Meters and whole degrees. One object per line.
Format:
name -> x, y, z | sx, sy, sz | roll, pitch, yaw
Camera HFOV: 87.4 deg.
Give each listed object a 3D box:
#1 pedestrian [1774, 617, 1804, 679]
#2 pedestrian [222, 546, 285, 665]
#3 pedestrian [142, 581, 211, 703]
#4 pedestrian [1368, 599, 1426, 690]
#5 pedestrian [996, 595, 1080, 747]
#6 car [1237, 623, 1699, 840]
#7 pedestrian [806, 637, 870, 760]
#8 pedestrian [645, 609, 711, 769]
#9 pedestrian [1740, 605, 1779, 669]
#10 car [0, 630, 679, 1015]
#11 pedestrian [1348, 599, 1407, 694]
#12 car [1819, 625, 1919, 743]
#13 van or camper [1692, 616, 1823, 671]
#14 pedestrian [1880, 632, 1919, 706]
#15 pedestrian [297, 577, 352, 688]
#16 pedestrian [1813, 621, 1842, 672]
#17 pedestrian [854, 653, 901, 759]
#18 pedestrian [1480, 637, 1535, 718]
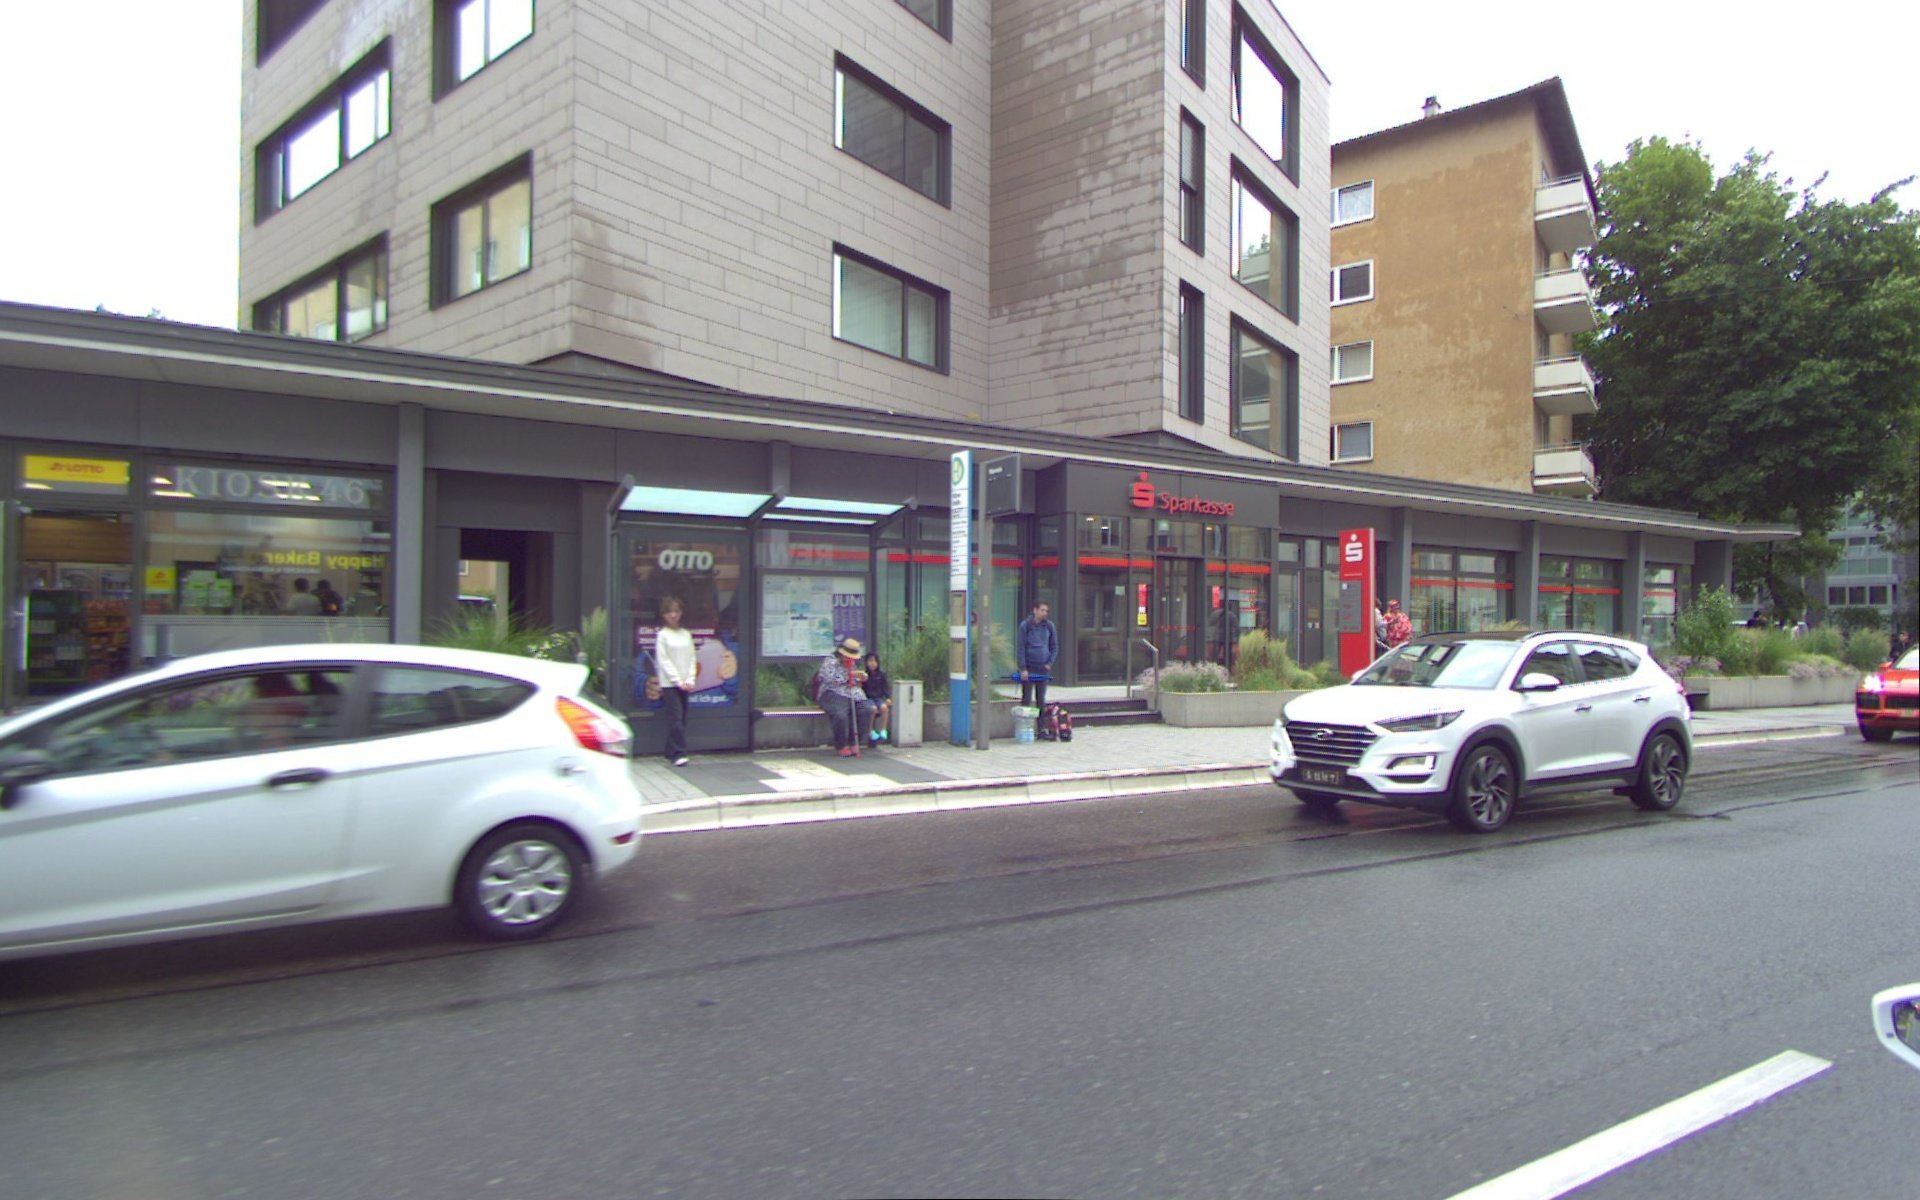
pedestrian -> 24.239, 1.407, 29.370 | 0.646, 1.782, 0.718 | 0, -1, 37
pedestrian -> -10.043, 0.085, 14.294 | 0.571, 1.649, 0.648 | 1, -1, -24
pedestrian -> -10.893, 0.576, 13.983 | 0.571, 1.649, 0.648 | 1, -1, -24
pedestrian -> 8.374, 0.851, 19.276 | 0.784, 1.700, 0.713 | 1, -1, -2
pedestrian -> 0.991, 0.880, 12.734 | 0.863, 1.843, 0.584 | 2, -1, -38
car -> 4.723, 1.094, 9.267 | 4.077, 1.593, 1.886 | 3, -4, -30
pedestrian -> -1.337, 1.055, 10.982 | 0.543, 1.294, 0.465 | 2, -1, -30
pedestrian -> -2.856, 0.884, 10.171 | 0.527, 1.570, 0.435 | 2, -1, -30
pedestrian -> 24.049, 1.109, 30.221 | 0.690, 1.869, 0.851 | 2, -2, -44
car -> -3.478, 0.923, 4.982 | 3.761, 1.483, 1.608 | 1, -4, -30
pedestrian -> 7.664, 0.841, 18.435 | 0.705, 1.700, 0.710 | 1, -1, -30
car -> 16.735, 1.387, 16.757 | 5.001, 1.787, 2.096 | 3, -4, -30
van or camper -> 37.463, 2.006, 47.368 | 4.537, 2.296, 2.206 | 2, 1, 32
pedestrian -> 24.222, 1.757, 25.886 | 0.713, 1.850, 0.718 | 1, 0, 42
pedestrian -> -9.714, 0.499, 15.373 | 0.571, 1.649, 0.648 | 1, -1, -24
pedestrian -> 31.668, 1.682, 36.674 | 0.711, 1.850, 0.720 | 1, 0, 33
pedestrian -> -0.924, 1.167, 11.204 | 0.381, 1.131, 0.390 | 2, -1, -30
pedestrian -> 10.071, 1.419, 18.490 | 0.710, 1.439, 0.592 | 1, -1, 5
